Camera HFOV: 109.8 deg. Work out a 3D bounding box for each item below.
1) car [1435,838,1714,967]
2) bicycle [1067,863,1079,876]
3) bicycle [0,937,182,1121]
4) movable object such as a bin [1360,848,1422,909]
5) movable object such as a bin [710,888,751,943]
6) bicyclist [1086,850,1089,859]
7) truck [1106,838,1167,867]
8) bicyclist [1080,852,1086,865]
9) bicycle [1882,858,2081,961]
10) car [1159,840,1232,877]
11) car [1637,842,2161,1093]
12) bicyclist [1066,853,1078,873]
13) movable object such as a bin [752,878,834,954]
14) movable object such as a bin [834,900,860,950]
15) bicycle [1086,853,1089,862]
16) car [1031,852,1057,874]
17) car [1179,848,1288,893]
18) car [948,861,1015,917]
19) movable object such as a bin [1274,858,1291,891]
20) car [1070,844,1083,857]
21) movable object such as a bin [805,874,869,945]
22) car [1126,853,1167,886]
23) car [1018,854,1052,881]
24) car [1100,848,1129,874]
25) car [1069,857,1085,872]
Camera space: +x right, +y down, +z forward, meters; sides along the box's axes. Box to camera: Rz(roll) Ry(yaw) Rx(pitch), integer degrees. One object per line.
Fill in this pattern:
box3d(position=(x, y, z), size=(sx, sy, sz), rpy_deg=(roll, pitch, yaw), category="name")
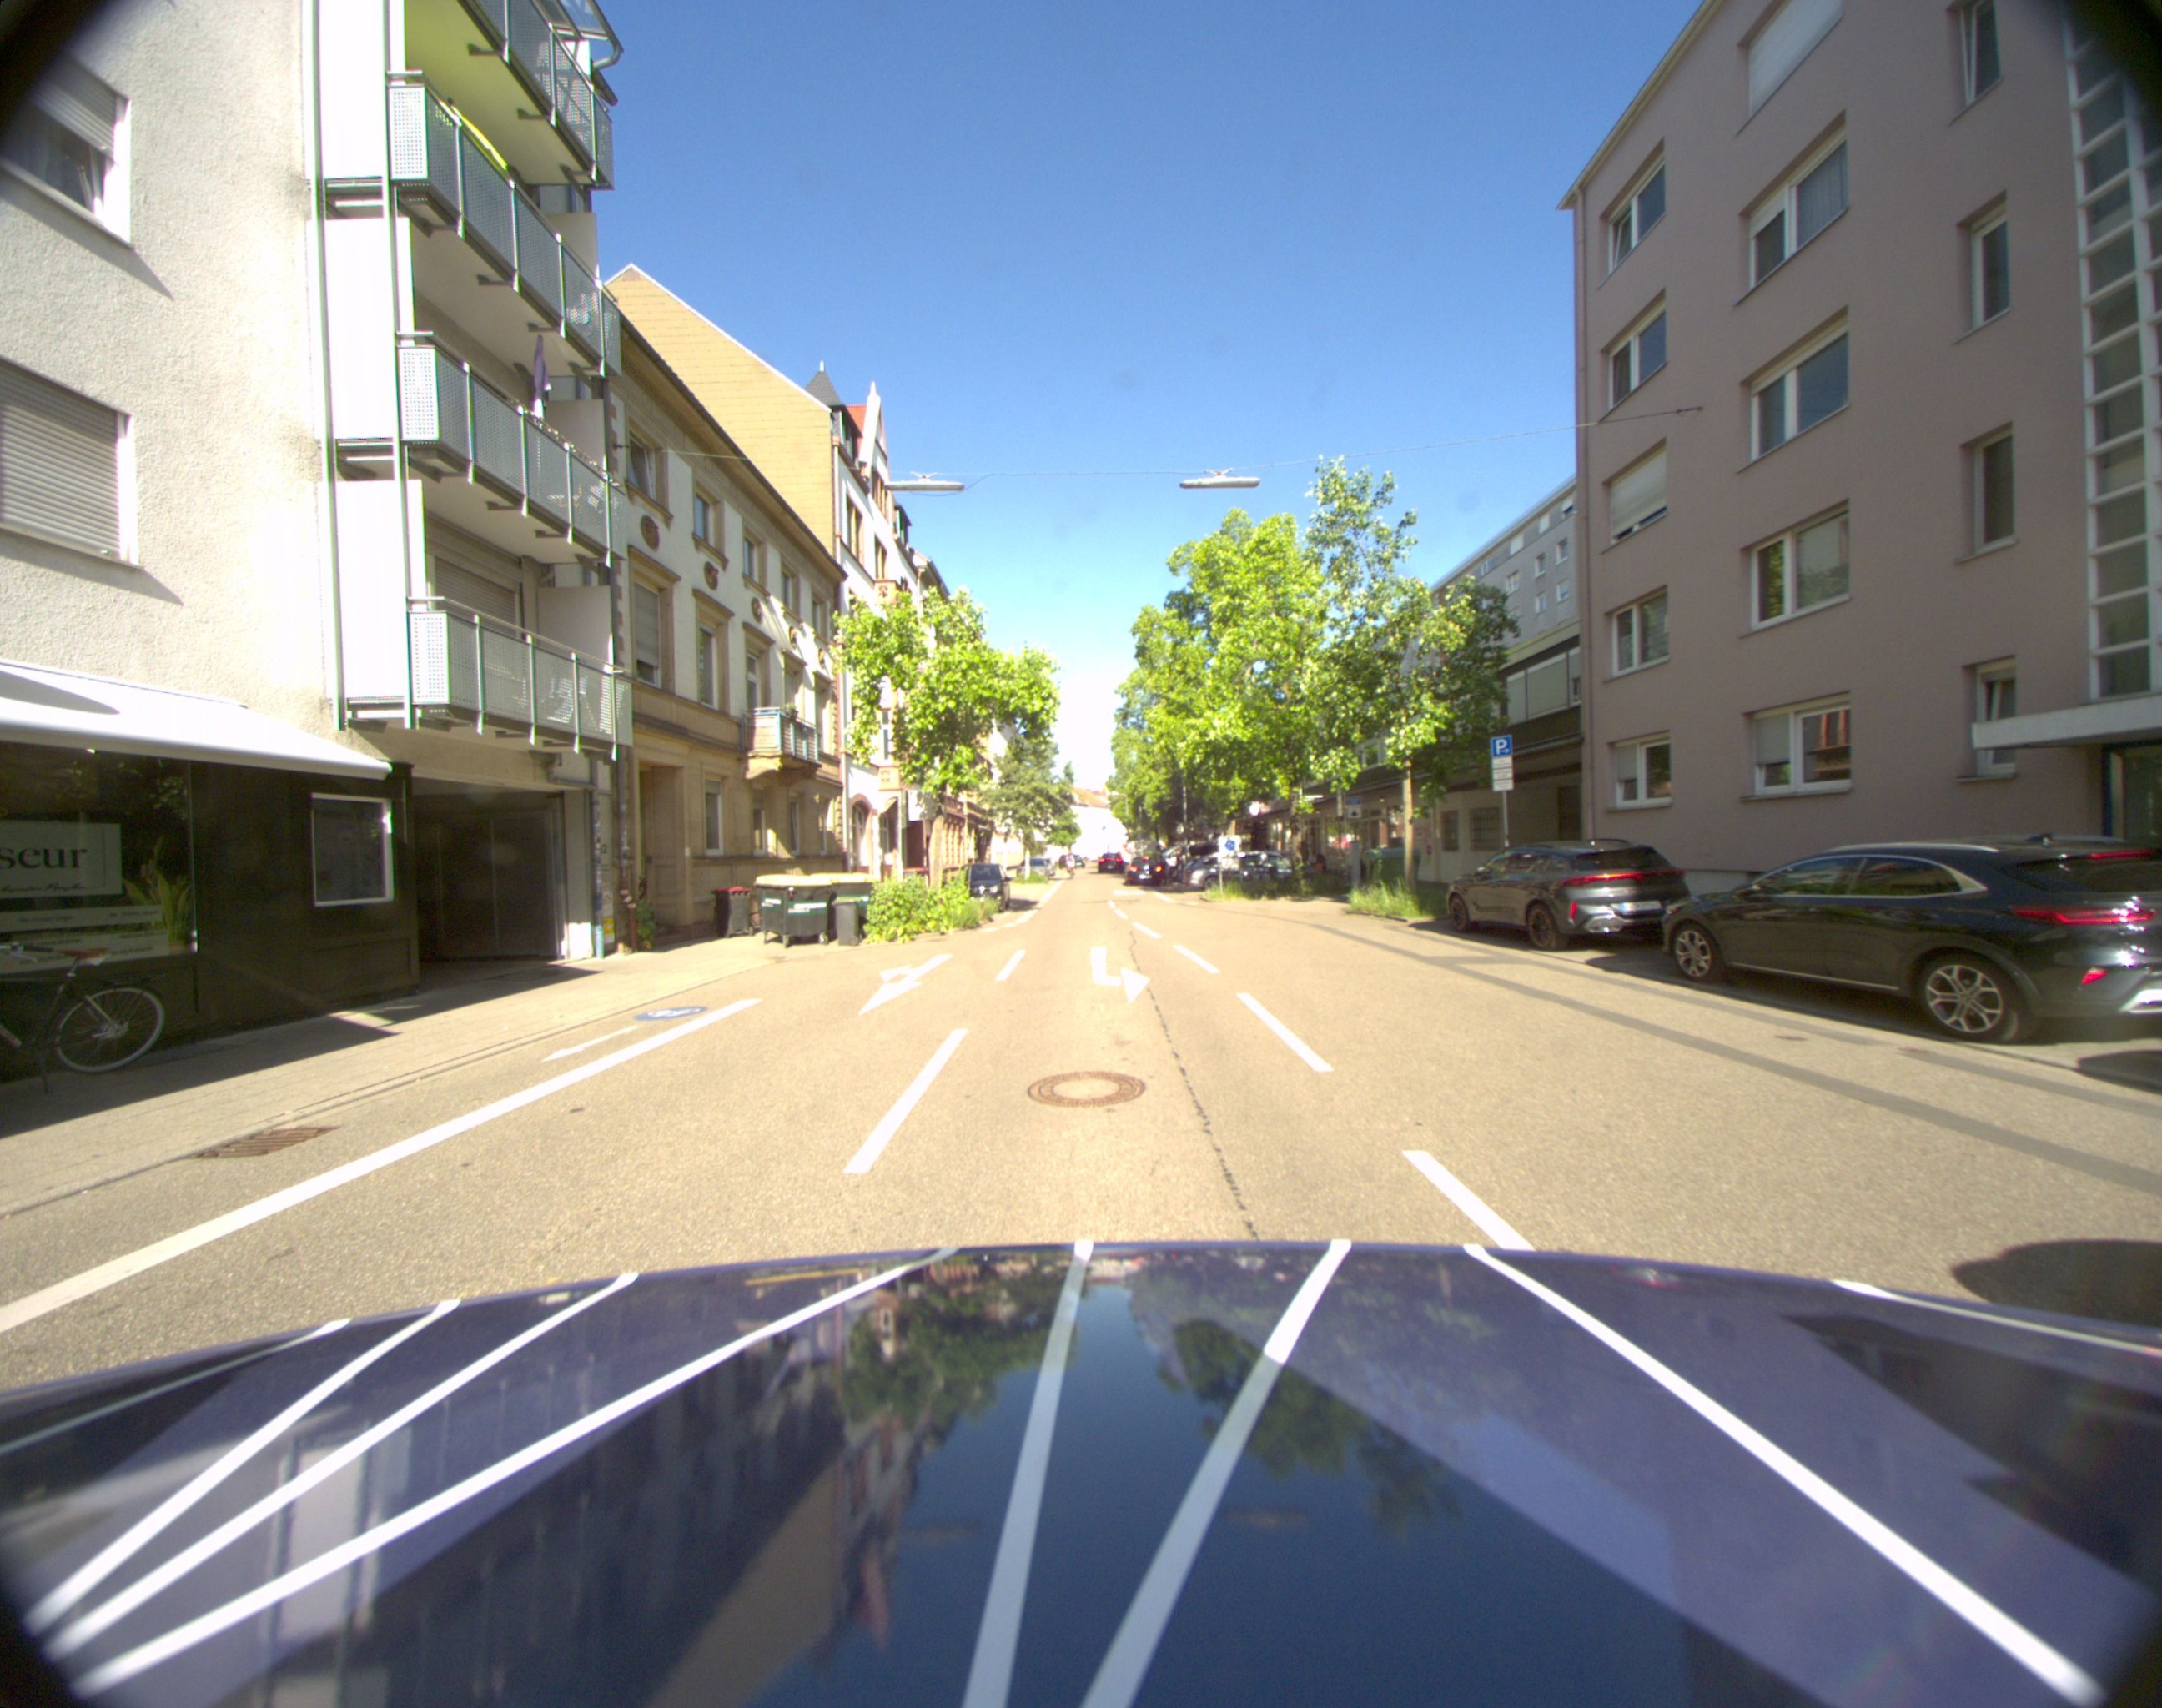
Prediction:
box3d(position=(7.582, 0.646, 12.261), size=(1.821, 1.583, 4.141), rpy_deg=(-5, 0, 2), category="car")
box3d(position=(-0.518, 1.016, 49.915), size=(0.612, 0.876, 1.813), rpy_deg=(-1, -1, -5), category="bicycle")
box3d(position=(-7.754, 1.285, 5.449), size=(0.402, 1.171, 1.792), rpy_deg=(-2, 0, 1), category="bicycle")
box3d(position=(8.126, 0.636, 19.996), size=(1.247, 1.536, 1.019), rpy_deg=(-2, 1, 5), category="movable object such as a bin")
box3d(position=(-7.327, 1.275, 15.896), size=(0.615, 1.075, 0.568), rpy_deg=(2, 3, 42), category="movable object such as a bin")
box3d(position=(0.960, 0.061, 118.344), size=(0.417, 1.415, 0.324), rpy_deg=(-2, 1, 1), category="bicyclist")
box3d(position=(5.202, -0.179, 71.608), size=(5.322, 2.581, 1.998), rpy_deg=(-2, 1, -9), category="truck")
box3d(position=(0.260, 0.565, 94.746), size=(0.748, 1.588, 0.613), rpy_deg=(-3, 1, 1), category="bicyclist")
box3d(position=(10.753, 0.616, 9.158), size=(0.391, 1.070, 1.650), rpy_deg=(-6, 1, 2), category="bicycle")
box3d(position=(6.696, 0.263, 44.780), size=(3.997, 2.020, 2.000), rpy_deg=(-2, 1, 1), category="car")
box3d(position=(7.509, 0.708, 6.931), size=(1.821, 1.499, 4.245), rpy_deg=(-4, 0, 2), category="car")
box3d(position=(-0.593, 0.592, 49.818), size=(0.610, 1.338, 1.018), rpy_deg=(-2, 0, -6), category="bicyclist")
box3d(position=(-5.596, 1.163, 14.780), size=(1.212, 1.318, 1.052), rpy_deg=(2, 3, 42), category="movable object such as a bin")
box3d(position=(-4.586, 1.386, 14.892), size=(0.401, 0.916, 0.484), rpy_deg=(0, 2, -7), category="movable object such as a bin")
box3d(position=(0.966, 0.494, 118.242), size=(0.422, 1.292, 1.762), rpy_deg=(-3, 1, -1), category="bicycle")
box3d(position=(-2.643, 0.654, 55.206), size=(1.653, 1.483, 3.290), rpy_deg=(-2, 0, 0), category="car")
box3d(position=(6.079, 0.635, 30.672), size=(3.997, 1.665, 2.000), rpy_deg=(-2, 1, 1), category="car")
box3d(position=(-2.978, 1.015, 23.368), size=(1.551, 1.483, 3.351), rpy_deg=(-2, 0, 0), category="car")
box3d(position=(7.611, 0.783, 28.679), size=(0.488, 1.218, 0.409), rpy_deg=(-2, 1, 1), category="movable object such as a bin")
box3d(position=(-0.751, -0.548, 126.552), size=(1.998, 2.002, 4.000), rpy_deg=(-2, 0, 1), category="car")
box3d(position=(-5.094, 1.126, 15.857), size=(0.960, 1.341, 1.066), rpy_deg=(-1, 2, -38), category="movable object such as a bin")
box3d(position=(3.205, 0.736, 37.961), size=(1.867, 1.455, 4.000), rpy_deg=(-2, 0, 3), category="car")
box3d(position=(-2.755, 0.767, 45.891), size=(1.759, 1.492, 3.949), rpy_deg=(-2, 0, 0), category="car")
box3d(position=(2.508, 0.493, 57.541), size=(1.994, 1.599, 4.259), rpy_deg=(-3, 3, 1), category="car")
box3d(position=(-0.396, 1.079, 80.817), size=(1.653, 1.447, 3.290), rpy_deg=(-2, 0, 1), category="car")
